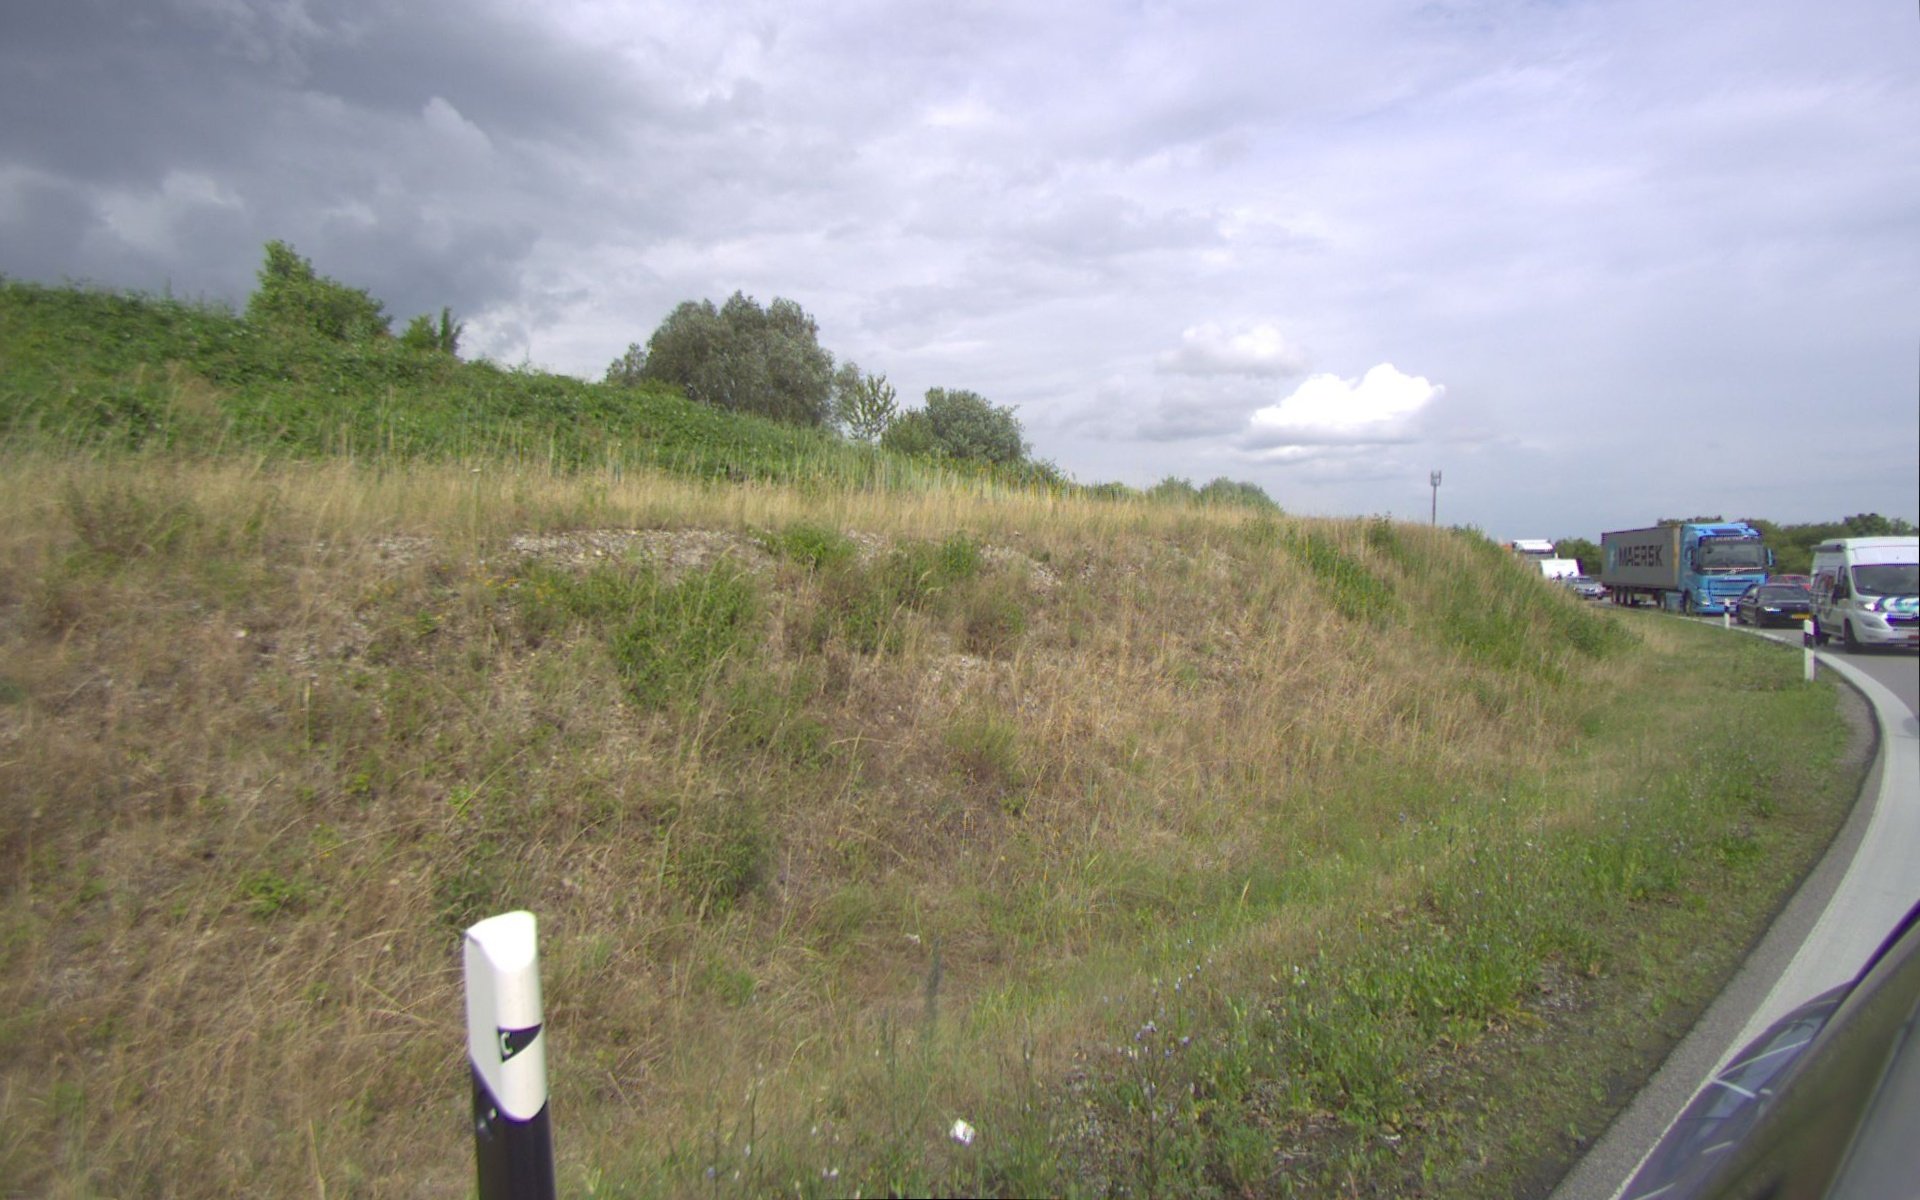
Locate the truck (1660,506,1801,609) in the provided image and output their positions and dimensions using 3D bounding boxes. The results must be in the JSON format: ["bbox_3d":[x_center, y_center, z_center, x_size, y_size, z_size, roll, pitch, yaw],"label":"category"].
[{"bbox_3d":[33.365,-1.722,44.152,3.142,4.124,6.600,0,0,21],"label":"truck"}]

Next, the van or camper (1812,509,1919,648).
[{"bbox_3d":[22.151,-0.483,23.713,2.379,2.945,5.659,0,0,30],"label":"van or camper"}]

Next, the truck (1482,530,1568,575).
[{"bbox_3d":[44.157,-3.618,79.479,3.080,3.279,11.113,0,2,14],"label":"truck"}]

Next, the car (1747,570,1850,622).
[{"bbox_3d":[28.380,-0.191,34.403,1.983,1.638,3.960,1,2,29],"label":"car"}]

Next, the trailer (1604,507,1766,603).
[{"bbox_3d":[35.864,-2.058,50.741,3.234,4.214,11.943,0,0,19],"label":"trailer"}]

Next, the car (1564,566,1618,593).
[{"bbox_3d":[39.031,-1.284,62.698,1.974,1.548,3.977,0,2,19],"label":"car"}]

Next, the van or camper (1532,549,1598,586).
[{"bbox_3d":[40.784,-2.254,68.438,2.519,2.237,5.684,-1,4,17],"label":"van or camper"}]

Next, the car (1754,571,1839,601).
[{"bbox_3d":[47.793,-0.840,57.956,1.972,1.622,4.785,0,2,17],"label":"car"}]
